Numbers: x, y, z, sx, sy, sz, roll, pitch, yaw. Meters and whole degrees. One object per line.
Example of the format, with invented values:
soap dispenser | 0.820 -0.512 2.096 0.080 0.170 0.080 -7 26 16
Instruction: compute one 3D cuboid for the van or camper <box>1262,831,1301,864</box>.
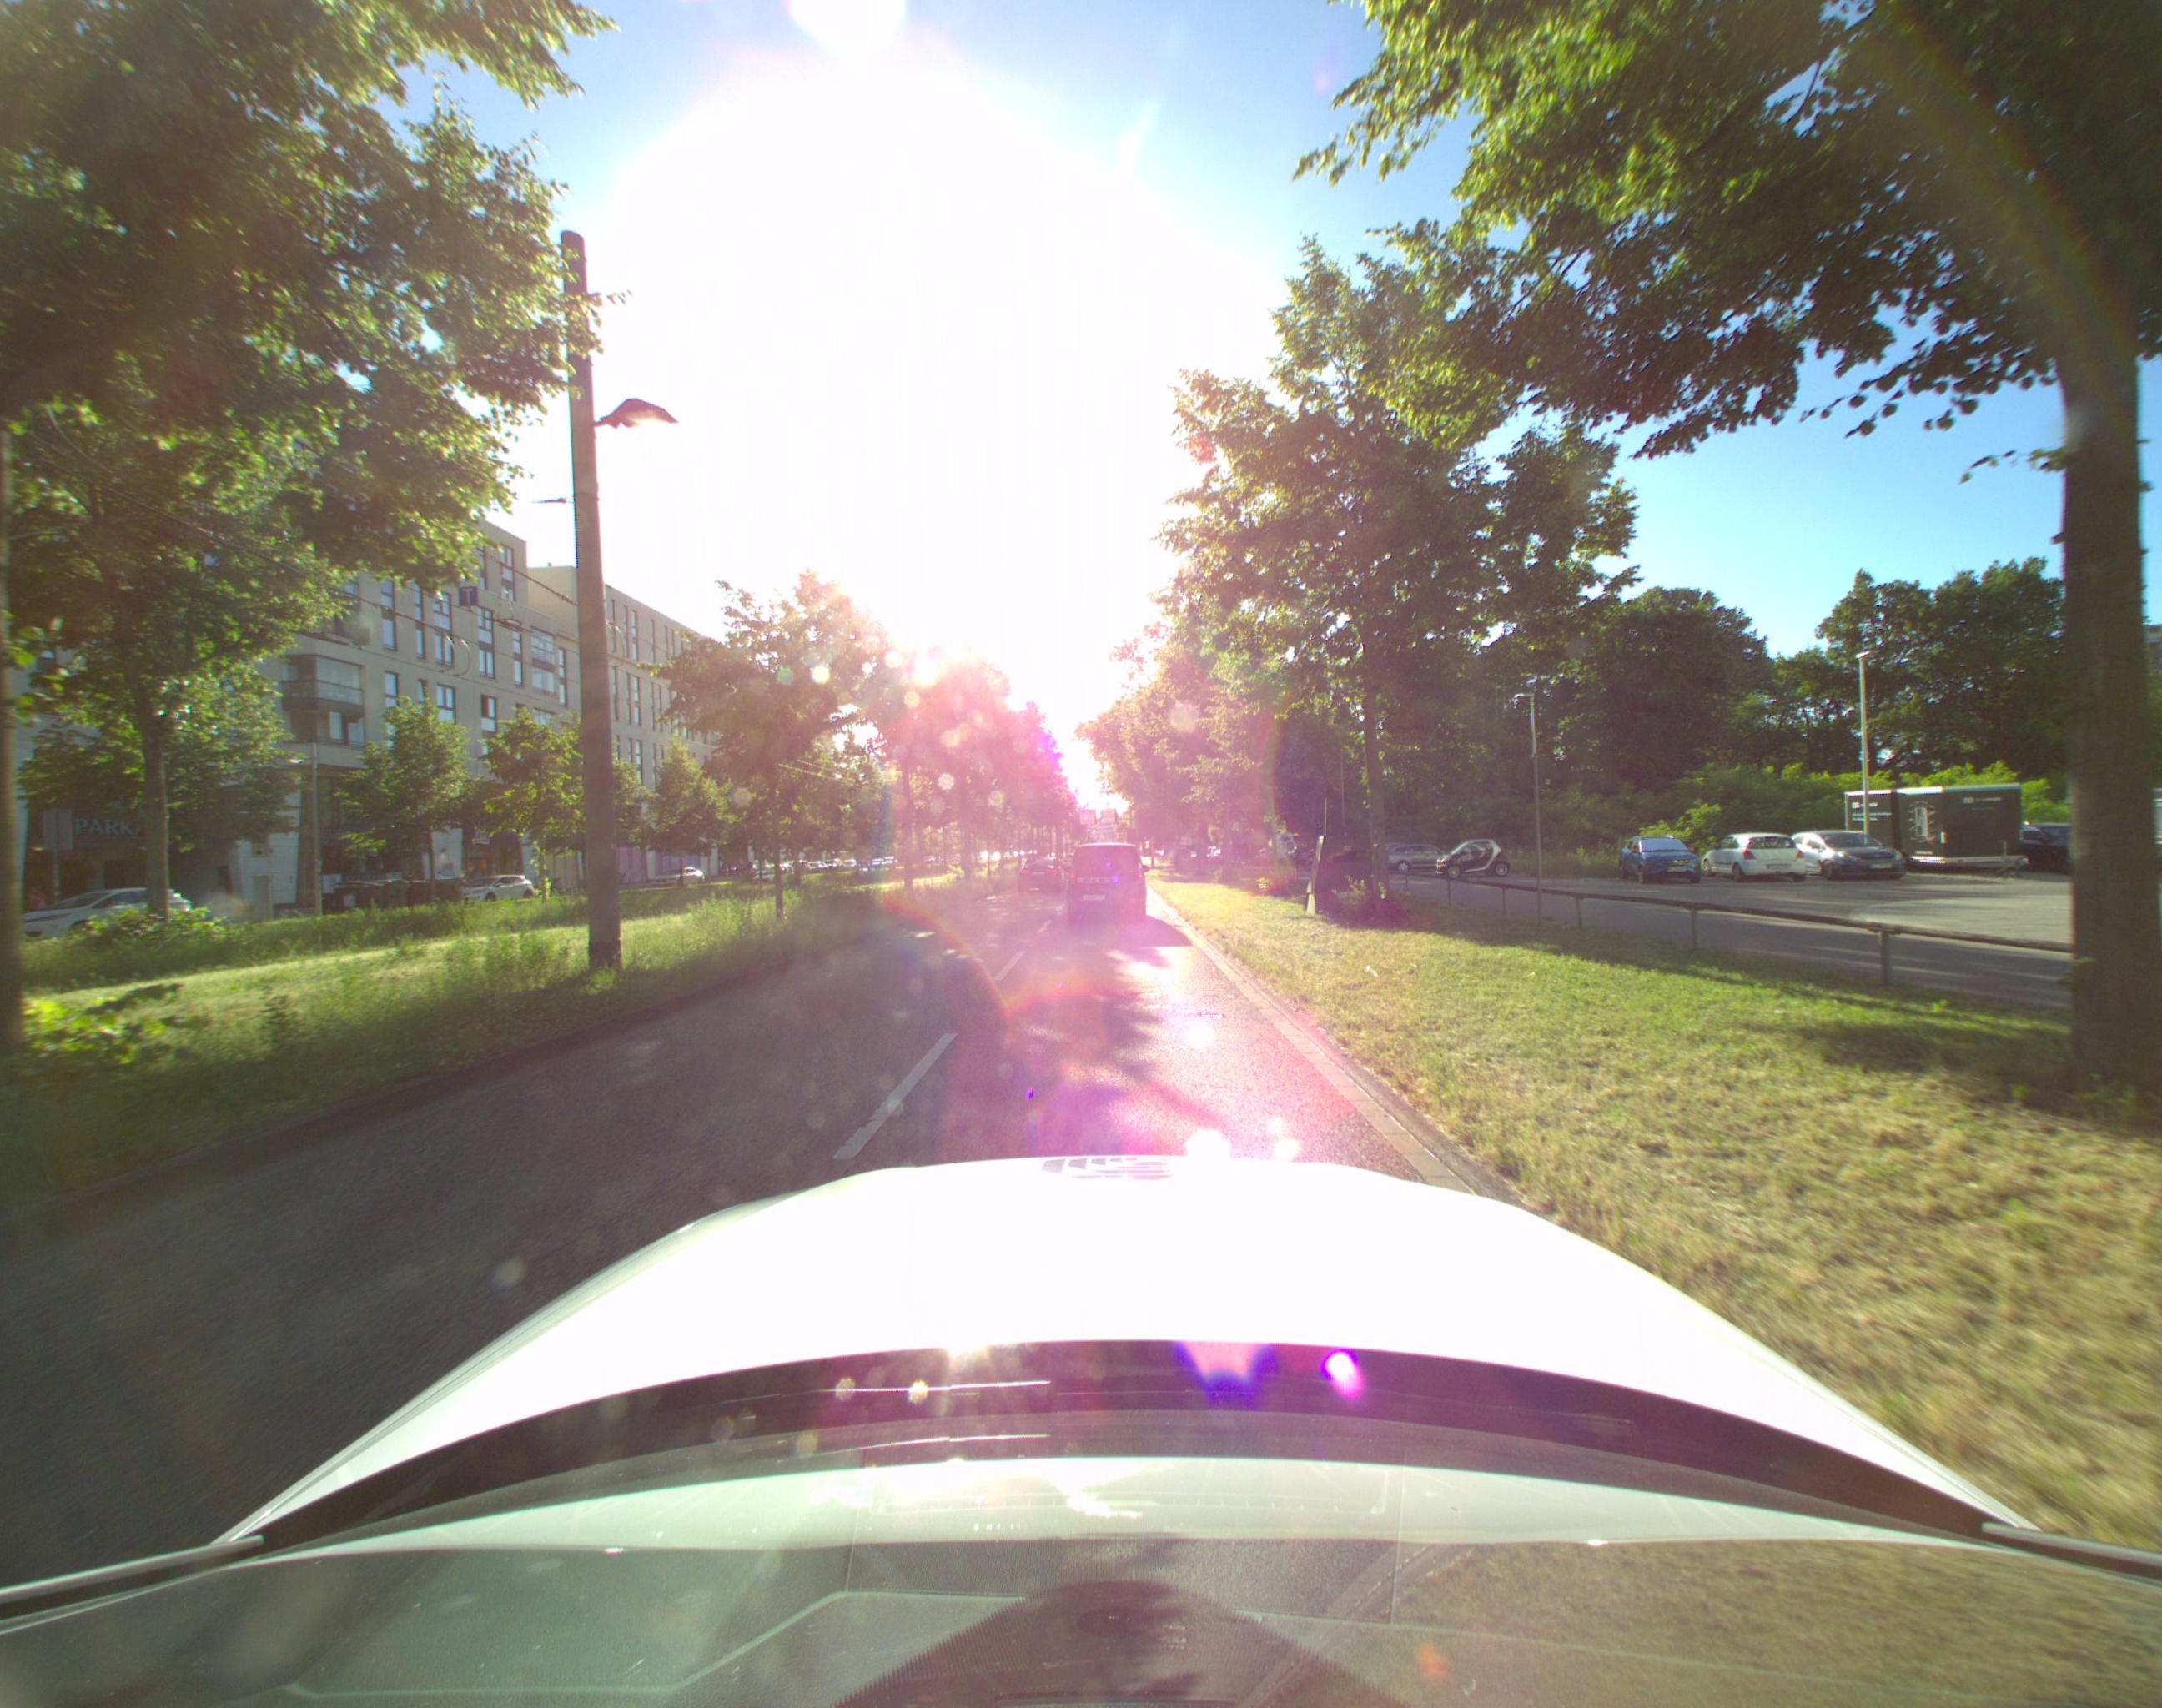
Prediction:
van or camper | 17.790 -0.568 72.557 1.988 2.731 4.962 -4 0 -1

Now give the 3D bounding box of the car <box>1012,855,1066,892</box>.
car | -1.642 0.753 33.095 1.785 1.428 4.002 0 0 2

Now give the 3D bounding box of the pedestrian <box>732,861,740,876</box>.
pedestrian | -38.257 1.619 90.252 0.634 1.651 0.719 0 0 -5

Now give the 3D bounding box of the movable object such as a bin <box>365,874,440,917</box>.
movable object such as a bin | -29.706 1.797 35.695 1.964 1.794 1.556 0 0 0

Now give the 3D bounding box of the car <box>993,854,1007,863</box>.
car | -14.667 0.843 147.935 1.986 1.686 5.112 0 0 2

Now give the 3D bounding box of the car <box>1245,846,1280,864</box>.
car | 17.628 0.090 79.204 1.839 1.617 3.988 -5 1 -9

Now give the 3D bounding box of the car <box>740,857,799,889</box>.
car | -20.116 1.205 52.767 1.984 2.014 4.005 0 0 5

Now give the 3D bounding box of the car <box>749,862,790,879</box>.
car | -28.767 1.481 75.408 1.987 1.441 4.778 0 0 0

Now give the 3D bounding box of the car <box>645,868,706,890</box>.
car | -29.338 1.750 59.088 1.987 1.441 4.924 0 0 0

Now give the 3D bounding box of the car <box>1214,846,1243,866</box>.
car | 12.294 0.183 68.046 1.984 1.640 4.005 0 0 4

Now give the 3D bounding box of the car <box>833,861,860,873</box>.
car | -28.347 1.547 98.657 1.987 1.441 4.455 0 0 0

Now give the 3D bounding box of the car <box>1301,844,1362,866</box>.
car | 18.643 0.036 60.800 3.979 1.505 1.763 -2 0 -4

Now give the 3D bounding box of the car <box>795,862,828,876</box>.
car | -28.424 1.555 85.950 1.987 1.441 4.455 0 0 0

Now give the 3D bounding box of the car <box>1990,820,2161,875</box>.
car | 29.208 -0.166 23.888 1.766 1.496 3.901 0 0 20

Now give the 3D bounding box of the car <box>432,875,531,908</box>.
car | -29.792 1.841 40.631 1.987 1.441 4.018 0 0 0

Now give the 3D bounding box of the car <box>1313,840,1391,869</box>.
car | 17.661 0.023 53.251 4.361 1.411 2.003 -6 0 4

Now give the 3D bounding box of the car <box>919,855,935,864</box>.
car | -26.703 1.013 141.632 1.873 1.434 4.611 -2 0 0

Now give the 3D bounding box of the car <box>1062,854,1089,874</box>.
car | -0.425 0.797 68.054 1.986 1.618 4.002 0 0 2

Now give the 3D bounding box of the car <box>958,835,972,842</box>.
car | -23.439 -3.150 164.451 1.904 1.325 4.615 0 0 3

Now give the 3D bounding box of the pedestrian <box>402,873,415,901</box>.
pedestrian | -38.562 1.874 46.710 0.496 1.549 0.525 -1 -1 44

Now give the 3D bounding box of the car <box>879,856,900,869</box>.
car | -27.242 1.239 115.976 1.987 1.772 4.775 0 0 0

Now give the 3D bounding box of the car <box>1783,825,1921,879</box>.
car | 23.940 -0.047 25.469 1.703 1.540 3.971 0 0 20

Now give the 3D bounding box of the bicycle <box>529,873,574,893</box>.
bicycle | -35.992 1.941 55.433 0.941 1.281 2.778 0 0 9

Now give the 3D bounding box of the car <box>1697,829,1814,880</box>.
car | 21.770 0.014 26.460 1.732 1.536 3.901 0 0 20

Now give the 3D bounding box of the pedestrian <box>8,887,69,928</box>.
pedestrian | -38.989 1.982 30.473 0.946 1.468 1.025 0 0 -7

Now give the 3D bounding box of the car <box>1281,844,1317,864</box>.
car | 17.827 0.014 66.804 1.986 1.574 4.001 0 0 2

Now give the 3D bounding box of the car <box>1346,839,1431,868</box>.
car | 17.740 -0.033 47.084 4.179 1.498 1.781 -3 0 -1

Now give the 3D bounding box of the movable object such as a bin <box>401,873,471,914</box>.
movable object such as a bin | -29.673 1.803 37.498 1.964 1.794 1.556 0 0 0

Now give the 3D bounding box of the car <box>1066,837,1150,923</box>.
car | 0.556 0.556 19.452 1.803 1.838 3.998 0 0 -1

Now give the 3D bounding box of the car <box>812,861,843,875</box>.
car | -28.543 1.574 91.761 1.987 1.441 4.935 0 0 0

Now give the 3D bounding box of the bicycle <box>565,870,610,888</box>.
bicycle | -36.507 1.835 60.320 2.777 1.281 0.941 0 0 -27

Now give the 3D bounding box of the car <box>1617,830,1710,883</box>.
car | 19.201 0.037 27.001 1.579 1.545 3.840 -3 1 21

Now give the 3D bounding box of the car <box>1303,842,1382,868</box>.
car | 17.948 0.061 56.086 4.701 1.406 2.001 -5 0 2

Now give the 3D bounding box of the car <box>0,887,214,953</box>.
car | -30.586 1.976 25.593 1.987 1.729 4.337 0 0 0

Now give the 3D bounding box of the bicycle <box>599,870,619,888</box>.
bicycle | -36.181 1.920 62.456 0.596 1.281 1.608 0 0 0

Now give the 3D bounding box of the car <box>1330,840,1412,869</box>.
car | 17.917 0.003 50.372 4.317 1.477 1.906 -4 1 -2

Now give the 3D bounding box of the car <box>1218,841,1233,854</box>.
car | 23.255 -1.069 130.841 2.076 2.013 4.952 -1 0 7

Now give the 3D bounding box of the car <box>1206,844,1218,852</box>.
car | 27.467 -1.226 170.759 1.985 1.640 4.003 0 0 3

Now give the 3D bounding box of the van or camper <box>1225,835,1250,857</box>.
van or camper | 20.704 -1.029 107.946 2.543 2.684 6.577 -4 0 7

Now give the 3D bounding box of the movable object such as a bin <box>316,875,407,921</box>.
movable object such as a bin | -29.655 1.791 33.637 1.964 1.794 2.010 0 0 -1

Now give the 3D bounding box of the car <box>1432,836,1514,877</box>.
car | 16.367 0.096 34.073 2.748 1.550 1.466 -3 -1 11

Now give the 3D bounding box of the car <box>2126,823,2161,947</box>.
car | 13.846 0.307 7.846 1.984 1.486 4.408 -5 0 5

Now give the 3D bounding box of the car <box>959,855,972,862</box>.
car | -25.133 0.955 176.850 1.985 1.608 4.615 0 0 3

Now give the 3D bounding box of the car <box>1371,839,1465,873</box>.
car | 17.218 0.086 41.747 4.063 1.468 1.717 -3 0 2
